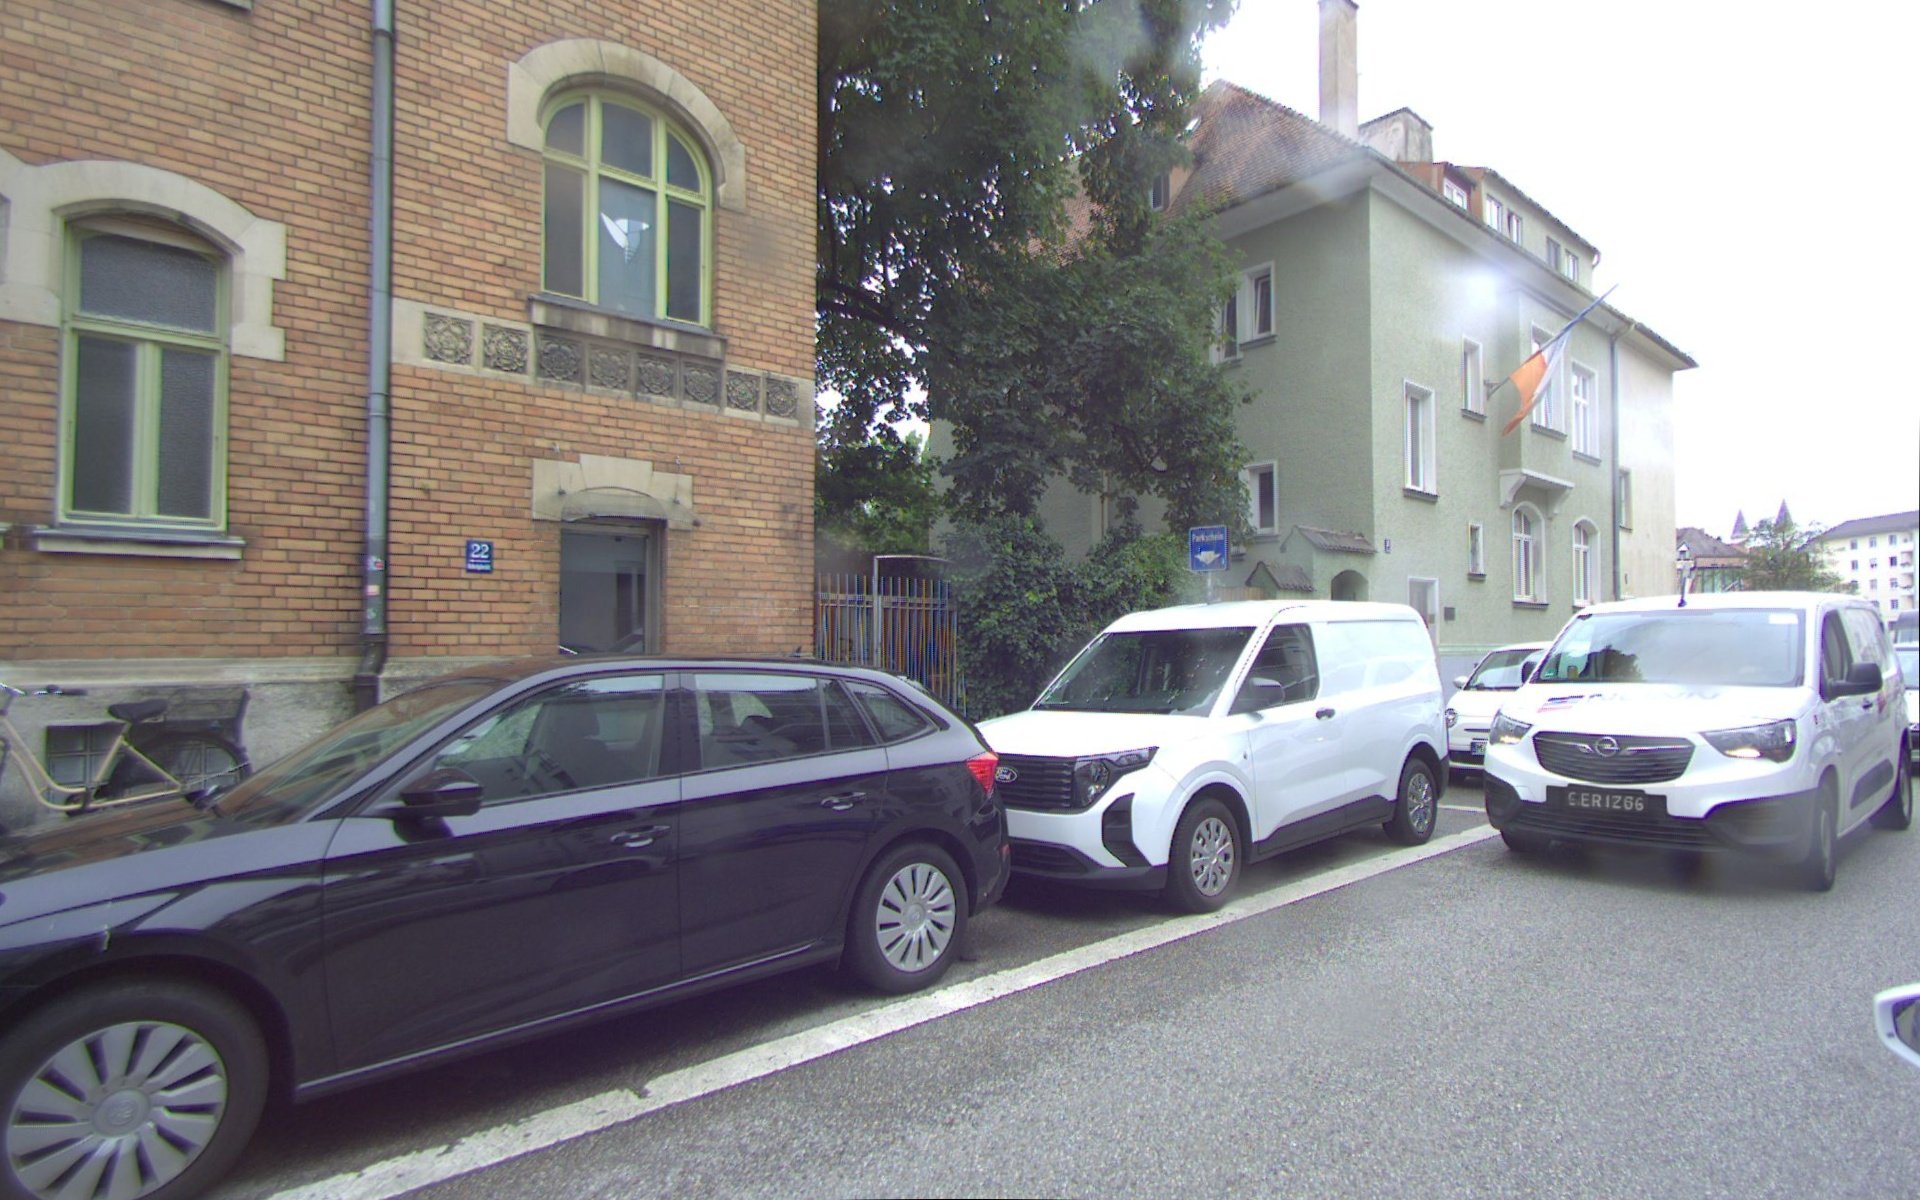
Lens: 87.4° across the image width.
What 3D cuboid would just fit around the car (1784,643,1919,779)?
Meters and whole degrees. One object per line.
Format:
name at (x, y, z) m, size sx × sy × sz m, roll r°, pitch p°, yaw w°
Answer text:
car at (11.273, 1.247, 12.012) m, size 3.584 × 1.429 × 1.568 m, roll 3°, pitch -4°, yaw -41°

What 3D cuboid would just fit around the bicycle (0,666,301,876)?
bicycle at (-5.251, 1.017, 6.295) m, size 1.813 × 1.143 × 0.626 m, roll 1°, pitch -2°, yaw -40°

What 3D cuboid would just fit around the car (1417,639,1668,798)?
car at (6.503, 1.196, 11.099) m, size 3.290 × 1.485 × 1.460 m, roll 2°, pitch -4°, yaw -43°

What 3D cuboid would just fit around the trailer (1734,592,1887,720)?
trailer at (18.436, 1.191, 21.707) m, size 4.350 × 2.493 × 1.696 m, roll 1°, pitch -4°, yaw -40°

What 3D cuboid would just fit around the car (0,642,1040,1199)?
car at (-1.717, 0.934, 4.024) m, size 4.113 × 1.461 × 1.675 m, roll 2°, pitch -4°, yaw -41°

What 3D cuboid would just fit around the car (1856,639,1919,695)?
car at (27.672, 1.931, 29.530) m, size 3.798 × 1.465 × 1.684 m, roll 1°, pitch -1°, yaw -44°

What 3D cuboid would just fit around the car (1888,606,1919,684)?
car at (35.284, 1.578, 36.157) m, size 5.332 × 2.671 × 2.071 m, roll 1°, pitch -2°, yaw -40°

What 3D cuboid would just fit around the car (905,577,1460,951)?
car at (1.742, 0.895, 6.958) m, size 4.115 × 1.827 × 1.675 m, roll 2°, pitch -4°, yaw -43°

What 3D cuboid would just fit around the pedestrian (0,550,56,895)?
pedestrian at (-4.677, 0.533, 4.582) m, size 0.721 × 1.533 × 0.690 m, roll 2°, pitch -1°, yaw -37°

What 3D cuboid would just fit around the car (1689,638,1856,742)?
car at (14.342, 1.512, 17.663) m, size 3.893 × 1.623 × 1.672 m, roll 2°, pitch -5°, yaw -42°

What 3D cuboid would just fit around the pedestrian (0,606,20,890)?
pedestrian at (-5.441, 0.791, 5.202) m, size 0.721 × 1.533 × 0.690 m, roll 2°, pitch -1°, yaw -37°

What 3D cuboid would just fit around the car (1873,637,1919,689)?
car at (30.574, 1.998, 32.349) m, size 1.569 × 1.558 × 3.522 m, roll -3°, pitch -3°, yaw 44°

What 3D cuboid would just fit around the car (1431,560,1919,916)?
car at (5.409, 0.827, 7.308) m, size 4.533 × 1.827 × 1.758 m, roll 2°, pitch -5°, yaw -39°
